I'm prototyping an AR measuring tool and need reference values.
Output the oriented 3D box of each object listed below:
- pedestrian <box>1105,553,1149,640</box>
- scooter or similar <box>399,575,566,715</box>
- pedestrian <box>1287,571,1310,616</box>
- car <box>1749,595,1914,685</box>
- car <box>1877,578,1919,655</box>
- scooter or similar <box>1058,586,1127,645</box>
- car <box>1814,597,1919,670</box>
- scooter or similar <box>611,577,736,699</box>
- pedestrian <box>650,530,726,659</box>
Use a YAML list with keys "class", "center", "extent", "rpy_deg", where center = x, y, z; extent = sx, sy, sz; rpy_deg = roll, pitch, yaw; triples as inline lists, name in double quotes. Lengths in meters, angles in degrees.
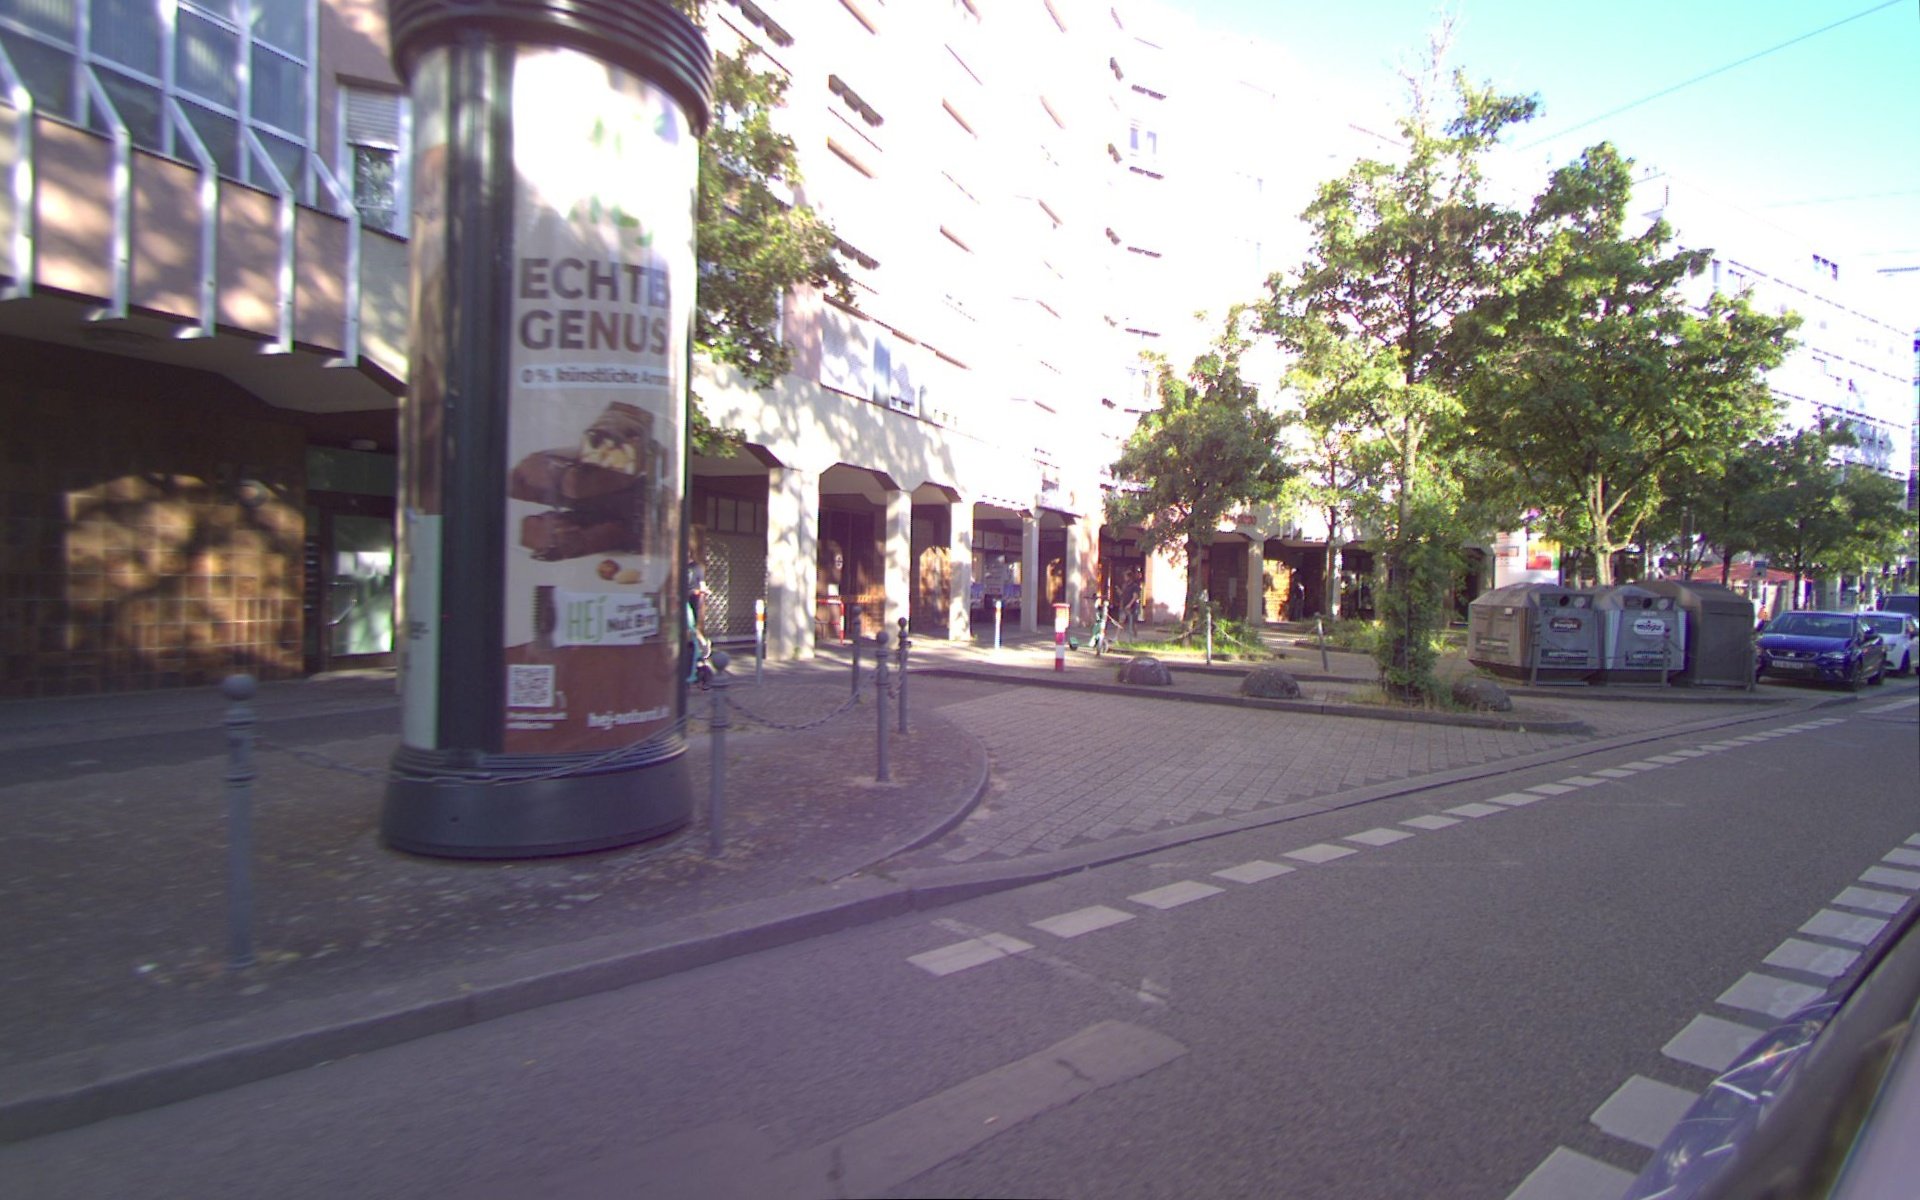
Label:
- class: "pedestrian"
  center: [3.907, -0.090, 23.734]
  extent: [0.760, 2.006, 0.642]
  rpy_deg: [1, 1, -28]
- class: "scooter or similar"
  center: [-4.519, 0.389, 9.664]
  extent: [0.481, 1.232, 1.436]
  rpy_deg: [1, 1, 28]
- class: "pedestrian"
  center: [14.442, -0.289, 43.194]
  extent: [0.696, 1.894, 0.622]
  rpy_deg: [0, 1, -40]
- class: "car"
  center: [17.114, 0.712, 19.819]
  extent: [4.172, 1.502, 1.706]
  rpy_deg: [0, 2, -39]
- class: "car"
  center: [26.863, 0.463, 27.782]
  extent: [5.111, 1.967, 2.040]
  rpy_deg: [0, 3, -44]
- class: "scooter or similar"
  center: [2.732, 0.296, 20.942]
  extent: [0.548, 1.160, 1.459]
  rpy_deg: [0, 1, -36]
- class: "car"
  center: [21.376, 0.720, 23.353]
  extent: [4.099, 1.483, 1.707]
  rpy_deg: [1, 2, -38]
- class: "scooter or similar"
  center: [-3.205, 0.393, 11.433]
  extent: [0.481, 1.290, 1.436]
  rpy_deg: [1, 1, 28]
- class: "pedestrian"
  center: [-4.357, -0.098, 16.257]
  extent: [0.811, 2.006, 0.840]
  rpy_deg: [1, 1, 29]
